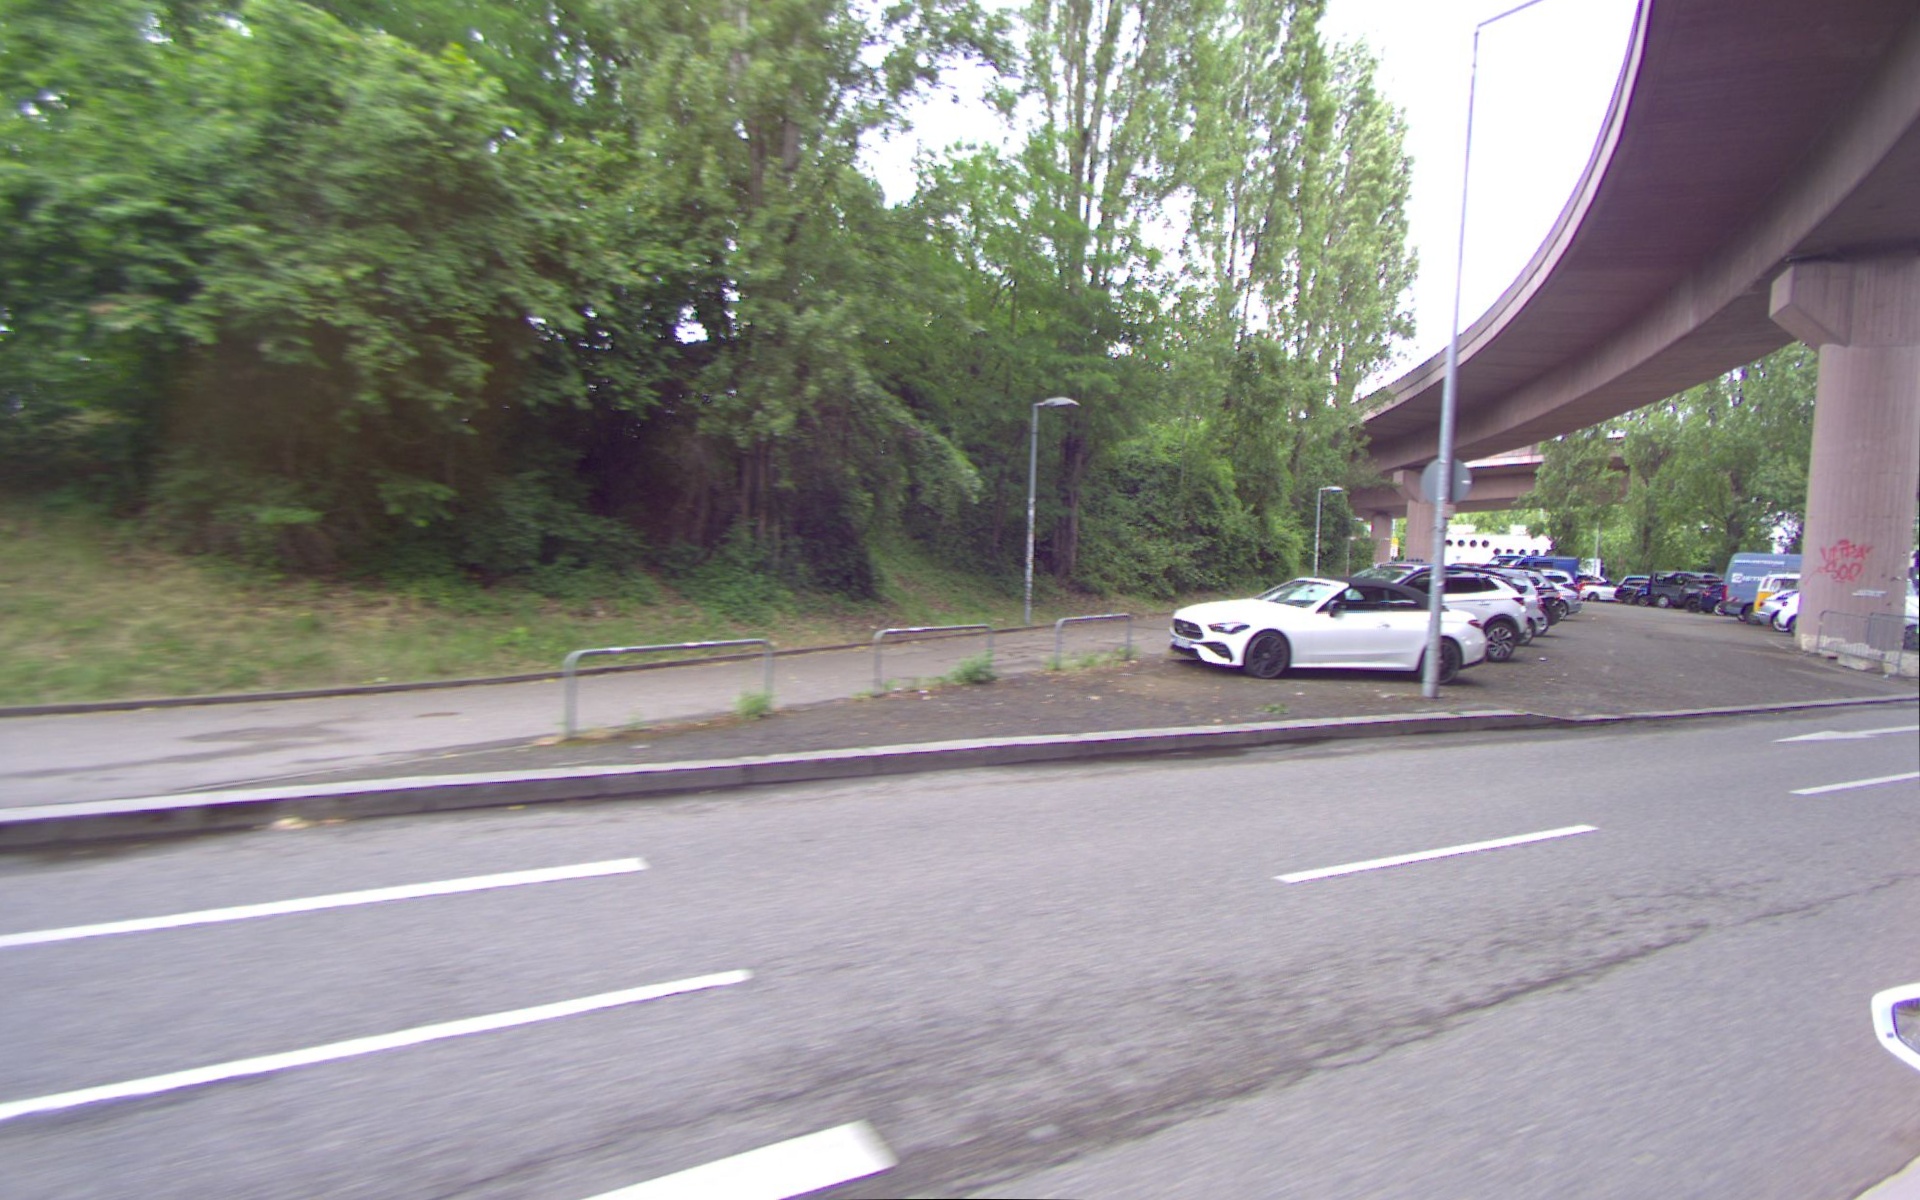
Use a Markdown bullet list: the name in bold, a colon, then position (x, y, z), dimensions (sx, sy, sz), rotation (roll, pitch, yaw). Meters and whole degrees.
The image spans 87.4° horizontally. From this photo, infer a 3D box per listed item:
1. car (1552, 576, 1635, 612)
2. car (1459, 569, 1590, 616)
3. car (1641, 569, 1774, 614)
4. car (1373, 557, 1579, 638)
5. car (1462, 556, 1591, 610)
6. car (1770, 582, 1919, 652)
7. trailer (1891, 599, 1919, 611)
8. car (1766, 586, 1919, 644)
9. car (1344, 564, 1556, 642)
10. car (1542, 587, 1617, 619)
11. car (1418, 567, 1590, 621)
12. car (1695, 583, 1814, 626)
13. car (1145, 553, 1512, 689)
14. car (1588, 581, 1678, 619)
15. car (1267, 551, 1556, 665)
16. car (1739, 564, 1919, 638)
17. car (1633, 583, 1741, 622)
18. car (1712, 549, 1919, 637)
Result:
- **car**: position (38.701, -0.380, 61.404), dimensions (3.945, 2.041, 1.988), rotation (3, 2, 44)
- **car**: position (21.857, -0.285, 38.962), dimensions (4.079, 1.698, 1.898), rotation (1, 1, -9)
- **car**: position (39.004, -0.484, 52.579), dimensions (2.233, 2.099, 5.064), rotation (2, 1, -30)
- **car**: position (12.418, -0.076, 24.287), dimensions (4.091, 1.714, 1.858), rotation (2, 2, -11)
- **car**: position (25.544, -0.758, 45.366), dimensions (4.932, 2.285, 2.118), rotation (1, 1, -14)
- **car**: position (25.861, 0.466, 28.203), dimensions (1.926, 1.628, 4.371), rotation (1, 4, -21)
- **trailer**: position (70.570, 0.422, 72.610), dimensions (2.113, 0.753, 6.295), rotation (-1, 2, 15)
- **car**: position (27.657, 0.426, 30.701), dimensions (1.972, 1.390, 4.232), rotation (1, 4, -24)
- **car**: position (10.355, 0.045, 21.350), dimensions (3.681, 1.473, 1.788), rotation (2, 2, -12)
- **car**: position (41.565, 0.177, 67.424), dimensions (3.945, 2.041, 1.988), rotation (3, 2, 44)
- **car**: position (17.765, -0.201, 32.866), dimensions (4.802, 1.508, 1.858), rotation (1, 4, -11)
- **car**: position (35.353, 0.185, 44.731), dimensions (3.945, 1.763, 2.009), rotation (2, 1, 45)
- **car**: position (5.430, 0.296, 14.997), dimensions (4.748, 1.499, 1.993), rotation (4, 5, -15)
- **car**: position (38.395, -0.032, 57.354), dimensions (3.945, 2.041, 1.988), rotation (2, 1, 45)
- **car**: position (8.093, 0.119, 18.165), dimensions (4.326, 1.604, 1.994), rotation (3, 6, -14)
- **car**: position (29.057, -0.026, 33.420), dimensions (1.826, 2.140, 4.540), rotation (1, 3, -26)
- **car**: position (35.032, 0.111, 48.426), dimensions (3.945, 1.753, 1.988), rotation (2, 1, 45)
- **car**: position (30.957, -0.335, 35.787), dimensions (2.341, 2.762, 6.141), rotation (0, 4, -31)
